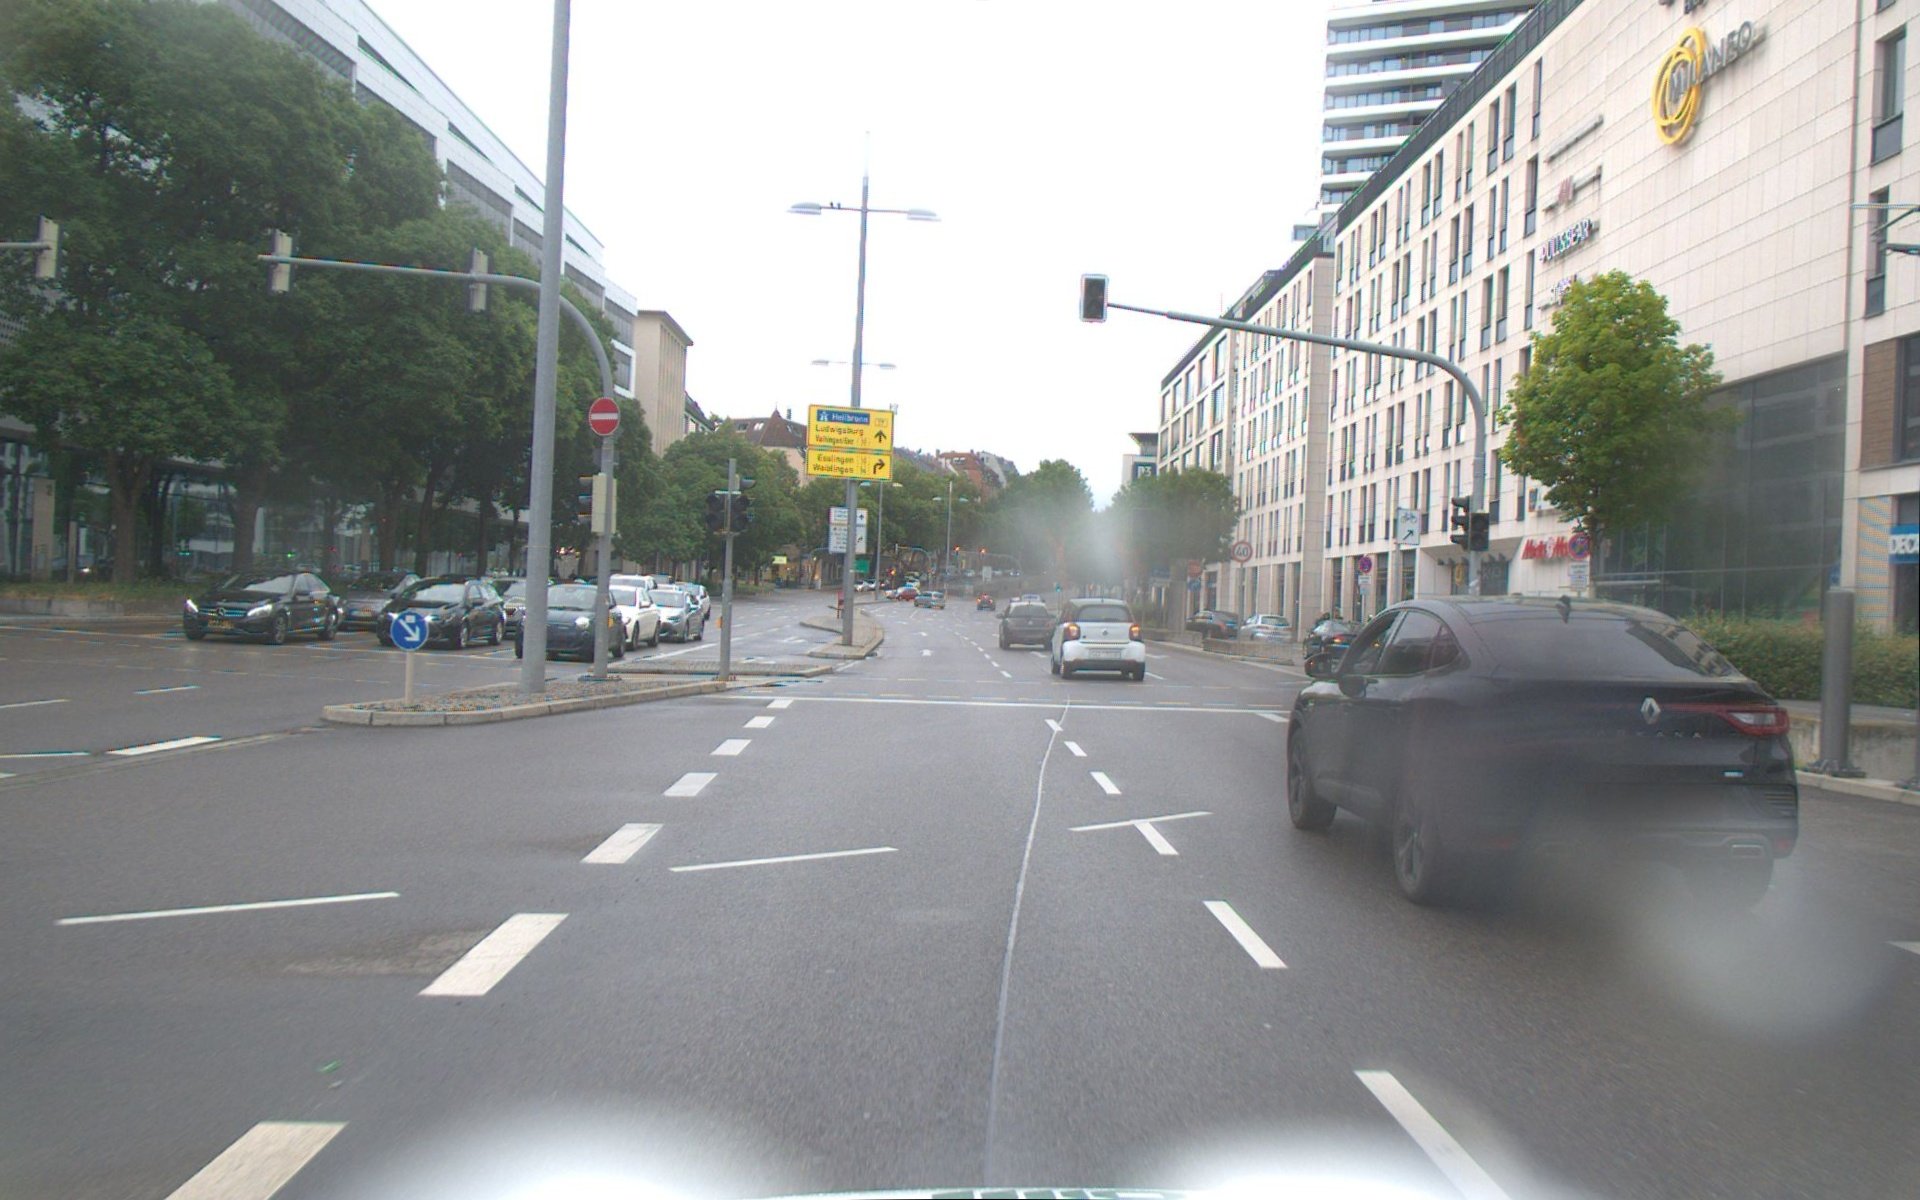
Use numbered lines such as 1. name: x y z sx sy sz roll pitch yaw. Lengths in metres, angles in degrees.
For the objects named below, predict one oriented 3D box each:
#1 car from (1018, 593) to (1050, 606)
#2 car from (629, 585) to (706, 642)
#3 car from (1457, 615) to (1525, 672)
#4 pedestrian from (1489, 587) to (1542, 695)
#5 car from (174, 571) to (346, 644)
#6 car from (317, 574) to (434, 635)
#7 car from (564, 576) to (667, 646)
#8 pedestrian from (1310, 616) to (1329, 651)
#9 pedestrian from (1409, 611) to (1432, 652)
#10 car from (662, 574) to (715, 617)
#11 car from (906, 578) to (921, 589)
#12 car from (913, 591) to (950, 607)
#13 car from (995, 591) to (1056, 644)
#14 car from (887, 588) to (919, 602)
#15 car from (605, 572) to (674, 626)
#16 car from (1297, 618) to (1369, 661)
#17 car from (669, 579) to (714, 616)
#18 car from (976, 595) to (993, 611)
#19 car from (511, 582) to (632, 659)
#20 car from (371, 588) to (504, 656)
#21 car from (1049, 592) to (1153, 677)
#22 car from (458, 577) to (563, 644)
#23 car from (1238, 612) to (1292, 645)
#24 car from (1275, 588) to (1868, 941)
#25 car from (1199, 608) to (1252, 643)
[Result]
1. car: 9.210 -0.076 205.458 3.721 1.558 1.747 1 0 7
2. car: -8.176 0.381 46.445 1.507 1.503 3.695 1 -1 -1
3. car: 12.869 1.028 40.188 1.474 1.288 3.504 1 -1 16
4. pedestrian: 9.690 0.709 28.867 0.712 1.864 0.510 1 -1 -1
5. car: -14.106 0.159 33.570 1.708 1.352 4.224 1 -1 -1
6. car: -14.800 0.122 42.055 1.708 1.448 3.539 1 -1 -1
7. car: -8.364 0.267 40.470 1.668 1.586 4.243 1 -1 -1
8. pedestrian: 16.269 1.505 74.786 0.660 1.555 0.726 1 -1 -1
9. pedestrian: 18.077 1.234 64.922 0.660 1.555 0.726 1 -1 -1
10. car: -11.705 -0.181 71.459 1.708 1.779 3.539 1 -1 -1
11. car: -6.981 -2.450 246.938 1.703 1.558 3.817 1 0 6
12. car: -2.862 -0.090 163.979 1.729 1.558 3.760 1 1 -40
13. car: 2.046 0.545 52.329 1.704 1.558 3.813 1 -1 -1
14. car: -7.073 -0.613 205.682 3.734 1.558 1.740 1 0 -12
15. car: -11.154 -0.010 57.775 1.708 1.779 3.539 1 -1 -1
16. car: 11.946 1.260 53.140 1.475 1.288 3.501 1 -1 -1
17. car: -13.409 -0.121 82.780 1.708 1.779 3.539 1 -1 -1
18. car: 2.546 0.309 173.464 1.704 1.558 3.813 1 -1 -1
19. car: -7.975 0.420 34.194 1.708 1.470 3.394 1 -1 -1
20. car: -11.069 0.438 35.260 1.708 1.279 3.539 2 1 -1
21. car: 2.765 0.669 33.140 1.689 1.558 3.813 1 -1 -1
22. car: -11.357 0.264 41.989 1.708 1.586 3.539 1 -1 -1
23. car: 12.330 1.136 66.973 1.475 1.288 3.501 1 -1 -1
24. car: 3.176 0.730 9.635 1.754 1.533 4.338 1 1 -1
25. car: 11.598 1.098 72.401 1.627 1.425 3.831 1 -1 -1
